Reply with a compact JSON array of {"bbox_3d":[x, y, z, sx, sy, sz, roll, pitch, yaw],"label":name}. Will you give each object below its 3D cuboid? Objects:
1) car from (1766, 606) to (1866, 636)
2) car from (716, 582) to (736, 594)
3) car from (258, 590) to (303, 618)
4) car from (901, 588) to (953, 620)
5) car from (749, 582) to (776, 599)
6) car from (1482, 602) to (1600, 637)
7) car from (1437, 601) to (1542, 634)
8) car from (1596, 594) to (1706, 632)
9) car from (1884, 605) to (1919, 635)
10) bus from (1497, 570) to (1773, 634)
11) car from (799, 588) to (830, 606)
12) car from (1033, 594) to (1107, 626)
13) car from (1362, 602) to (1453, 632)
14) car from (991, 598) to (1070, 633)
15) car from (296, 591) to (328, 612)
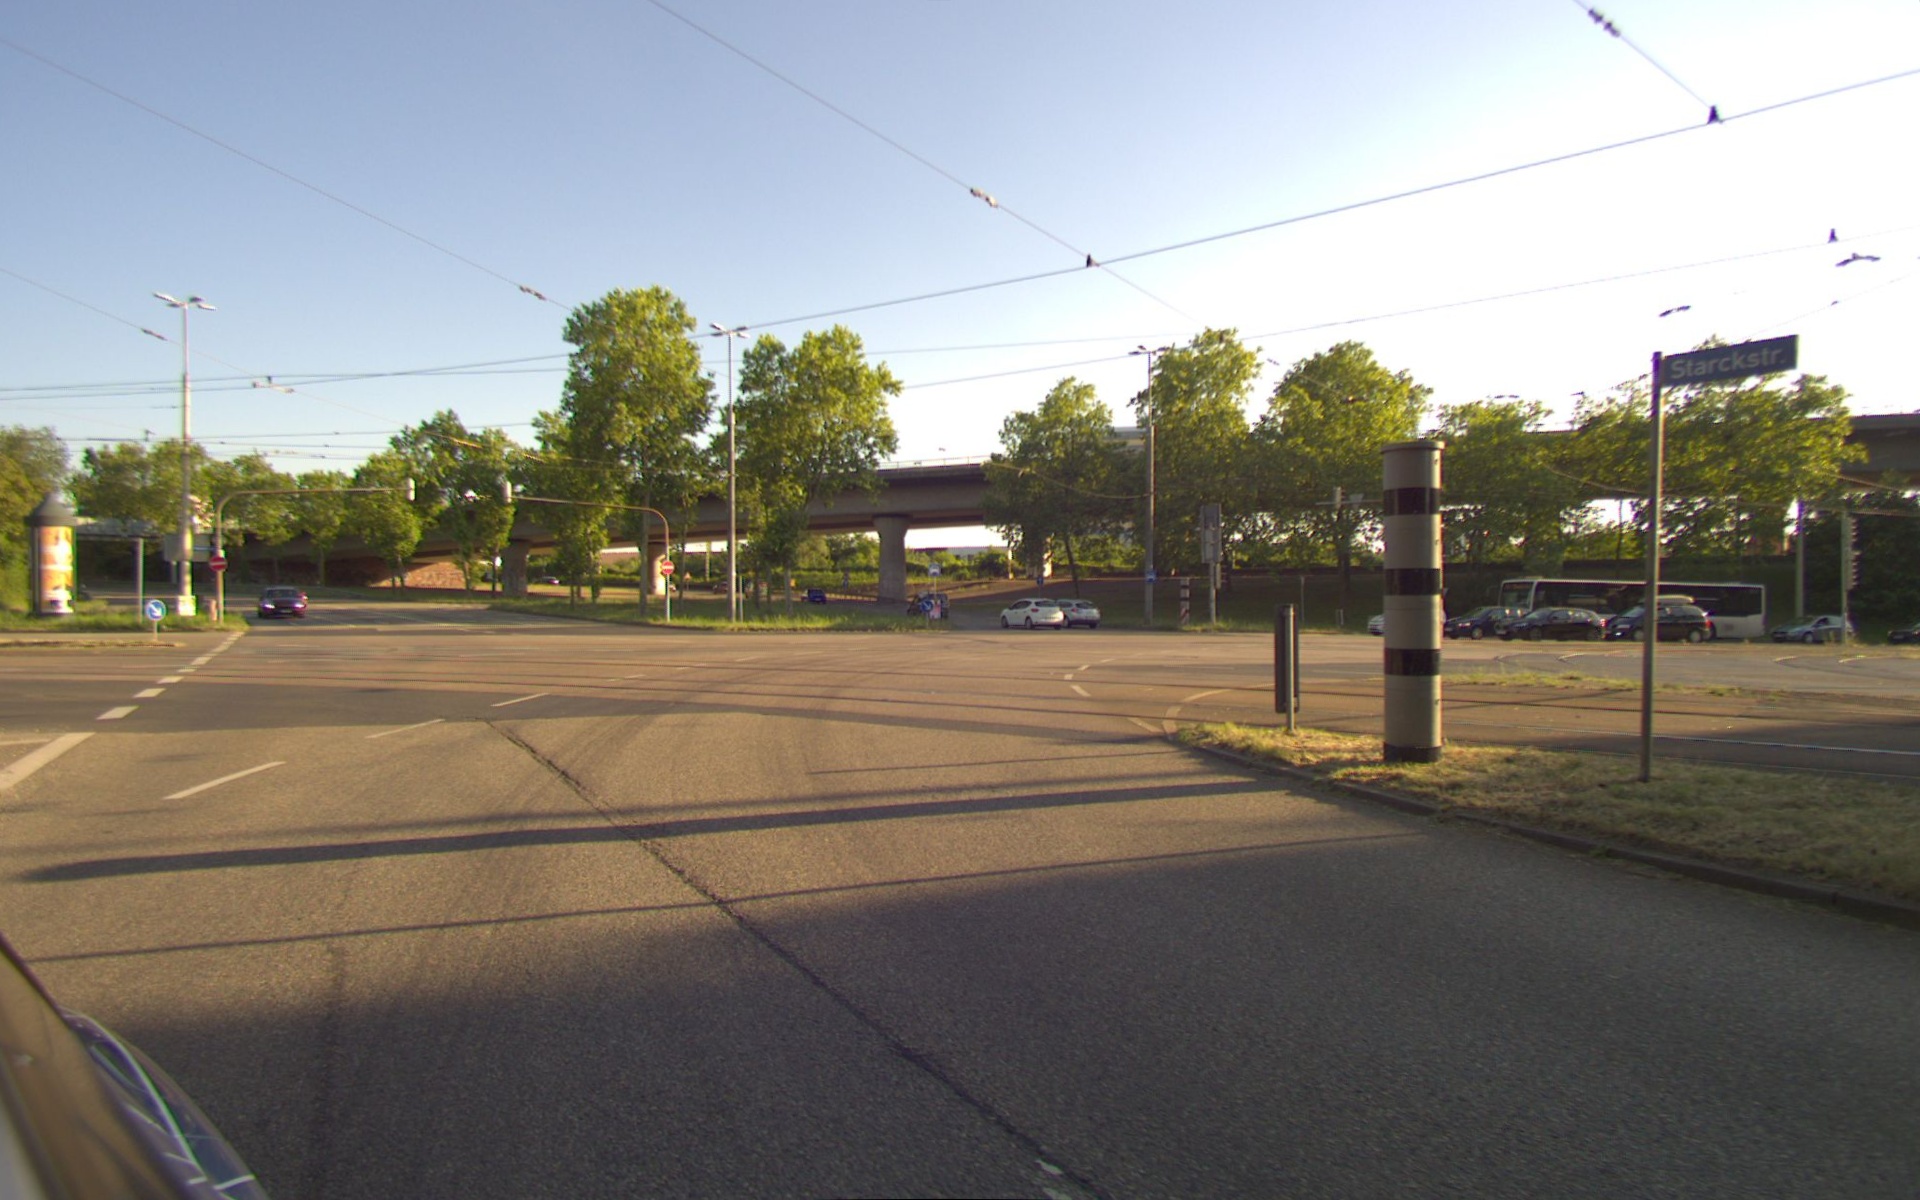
[{"bbox_3d":[43.263,1.032,51.193,3.935,1.453,1.709,0,1,-10],"label":"car"},{"bbox_3d":[-30.167,-1.543,130.312,1.667,1.433,3.746,0,1,-27],"label":"car"},{"bbox_3d":[-37.970,0.237,56.506,1.967,1.497,4.010,-1,0,-36],"label":"car"},{"bbox_3d":[-2.063,0.210,62.718,1.824,1.881,4.160,0,0,-23],"label":"car"},{"bbox_3d":[-22.479,-1.072,114.954,1.965,1.920,4.721,0,1,-24],"label":"car"},{"bbox_3d":[23.893,0.779,41.644,4.028,1.364,1.720,0,0,-10],"label":"car"},{"bbox_3d":[23.140,0.739,44.289,3.933,1.364,1.614,0,0,-13],"label":"car"},{"bbox_3d":[31.038,0.568,45.498,4.028,1.665,1.720,0,0,-10],"label":"car"},{"bbox_3d":[49.914,1.004,51.892,3.935,1.453,1.709,0,1,-10],"label":"car"},{"bbox_3d":[33.106,0.086,49.727,12.647,2.977,2.837,0,0,-9],"label":"bus"},{"bbox_3d":[-13.702,-0.293,94.900,1.965,1.570,3.948,0,1,-22],"label":"car"},{"bbox_3d":[5.716,0.487,53.121,1.825,1.621,4.385,0,1,-25],"label":"car"},{"bbox_3d":[21.137,0.781,47.790,3.672,1.364,1.614,0,0,-13],"label":"car"},{"bbox_3d":[3.392,0.732,49.568,1.825,1.621,4.322,0,1,-28],"label":"car"},{"bbox_3d":[-48.123,0.113,75.128,1.966,1.497,4.011,-1,0,-33],"label":"car"}]
